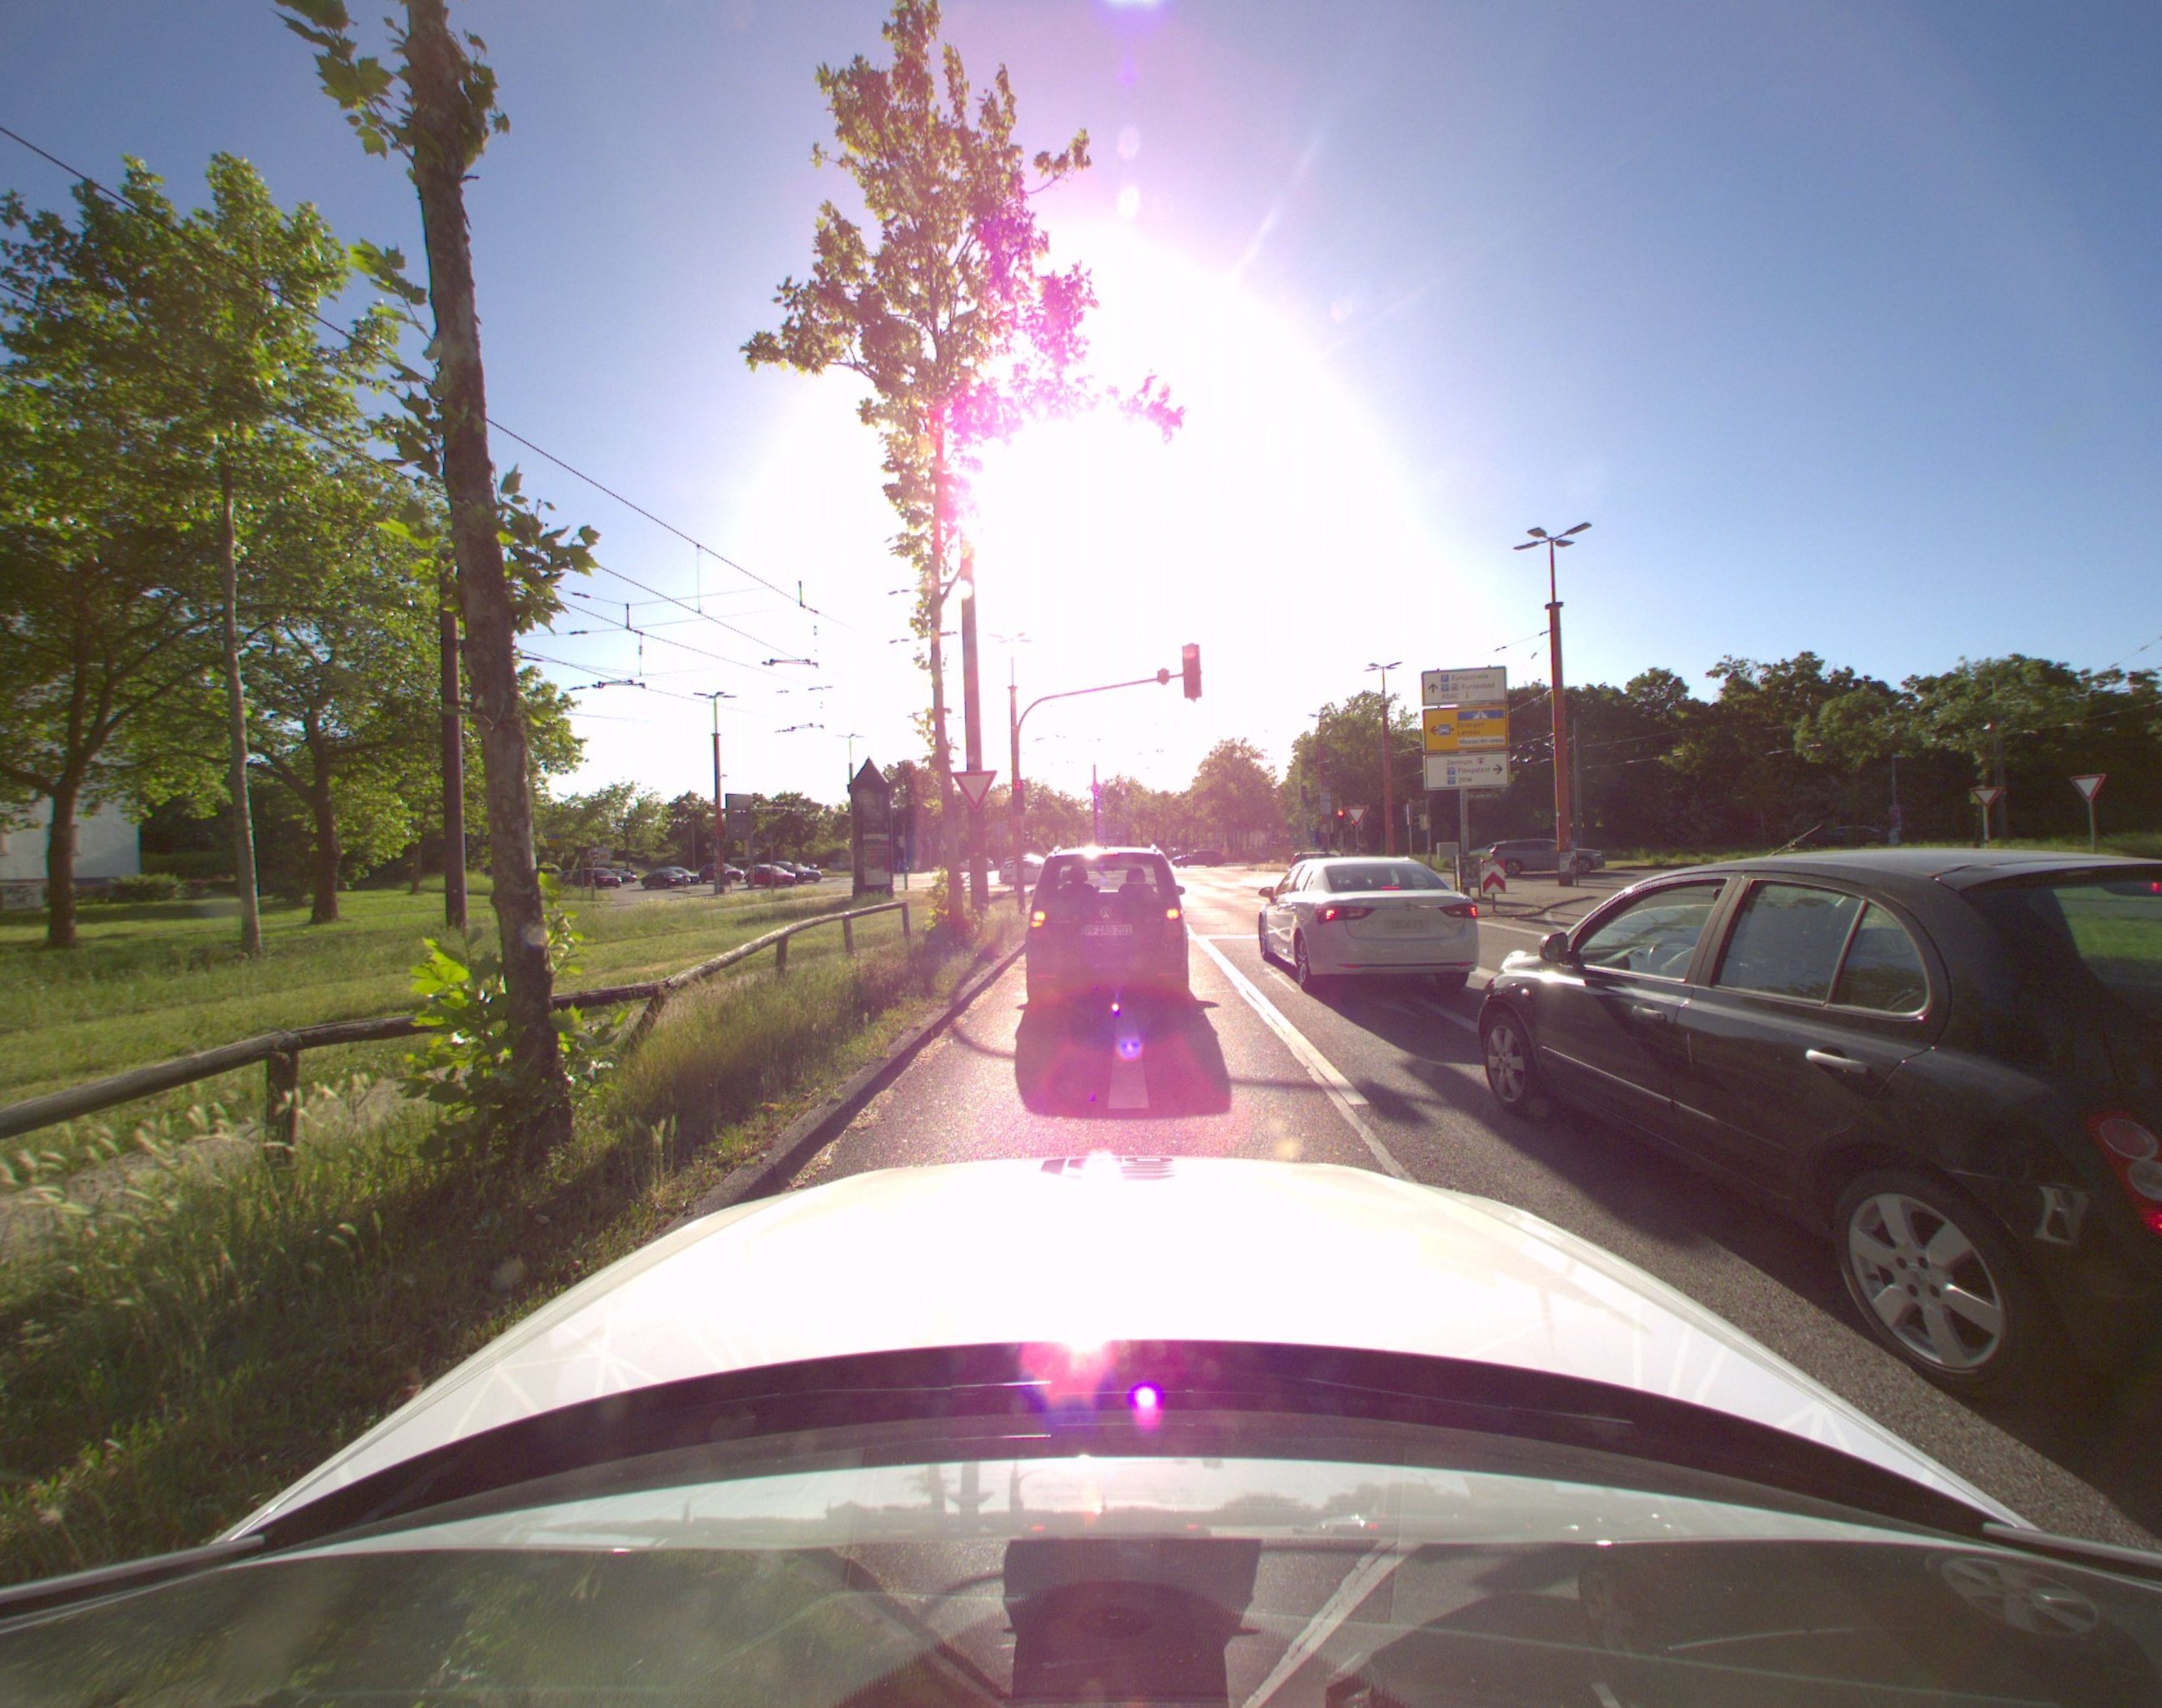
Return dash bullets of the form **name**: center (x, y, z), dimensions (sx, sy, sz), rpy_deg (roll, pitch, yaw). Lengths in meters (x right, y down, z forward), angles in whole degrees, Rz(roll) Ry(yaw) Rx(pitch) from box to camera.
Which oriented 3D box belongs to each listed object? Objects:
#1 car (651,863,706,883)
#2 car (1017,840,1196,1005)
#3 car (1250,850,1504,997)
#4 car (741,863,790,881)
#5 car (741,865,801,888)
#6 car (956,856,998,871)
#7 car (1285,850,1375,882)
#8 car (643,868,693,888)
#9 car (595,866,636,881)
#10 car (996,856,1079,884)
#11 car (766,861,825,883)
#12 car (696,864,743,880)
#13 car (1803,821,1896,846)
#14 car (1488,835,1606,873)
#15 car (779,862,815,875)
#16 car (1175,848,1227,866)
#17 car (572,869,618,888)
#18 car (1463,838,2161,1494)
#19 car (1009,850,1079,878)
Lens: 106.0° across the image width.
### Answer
- **car**: center (-34.854, 1.626, 70.491), dimensions (4.585, 1.647, 1.767), rpy_deg (-1, 0, 26)
- **car**: center (0.360, 0.688, 10.093), dimensions (1.731, 1.602, 4.329), rpy_deg (0, -1, 3)
- **car**: center (3.367, 0.707, 10.198), dimensions (1.792, 1.440, 4.329), rpy_deg (0, -1, 3)
- **car**: center (-26.839, 1.524, 69.196), dimensions (4.102, 1.415, 1.553), rpy_deg (-1, 0, 28)
- **car**: center (-22.226, 1.624, 58.371), dimensions (4.147, 1.520, 1.666), rpy_deg (-1, 0, 26)
- **car**: center (-10.441, 0.936, 81.949), dimensions (3.877, 1.457, 1.667), rpy_deg (-1, 0, 28)
- **car**: center (11.876, 0.561, 38.874), dimensions (3.793, 1.441, 1.667), rpy_deg (-1, 0, 29)
- **car**: center (-33.301, 1.938, 65.591), dimensions (4.145, 1.520, 1.667), rpy_deg (-1, 0, 32)
- **car**: center (-45.622, 1.914, 79.829), dimensions (4.102, 1.415, 1.553), rpy_deg (-1, 0, 28)
- **car**: center (-2.552, 0.919, 47.357), dimensions (4.578, 1.520, 1.667), rpy_deg (-1, 0, 31)
- **car**: center (-22.054, 1.391, 62.817), dimensions (4.583, 1.647, 1.767), rpy_deg (-1, 0, 32)
- **car**: center (-32.023, 1.595, 72.109), dimensions (4.102, 1.415, 1.553), rpy_deg (-1, 0, 28)
- **car**: center (46.694, -1.245, 49.560), dimensions (3.758, 1.403, 1.665), rpy_deg (-1, 0, 22)
- **car**: center (21.352, 0.010, 37.421), dimensions (4.583, 1.647, 1.667), rpy_deg (-1, 0, 32)
- **car**: center (-32.698, 1.638, 93.614), dimensions (3.877, 1.457, 1.667), rpy_deg (-1, 0, 28)
- **car**: center (10.370, 0.277, 70.222), dimensions (4.095, 1.510, 1.667), rpy_deg (-1, 0, 30)
- **car**: center (-41.791, 2.074, 70.063), dimensions (4.145, 1.520, 1.667), rpy_deg (-1, 0, 32)
- **car**: center (3.174, 0.693, 3.499), dimensions (1.570, 1.440, 3.443), rpy_deg (0, -1, 2)
- **car**: center (-2.372, 0.663, 51.831), dimensions (4.285, 1.692, 1.667), rpy_deg (-1, 0, 34)
